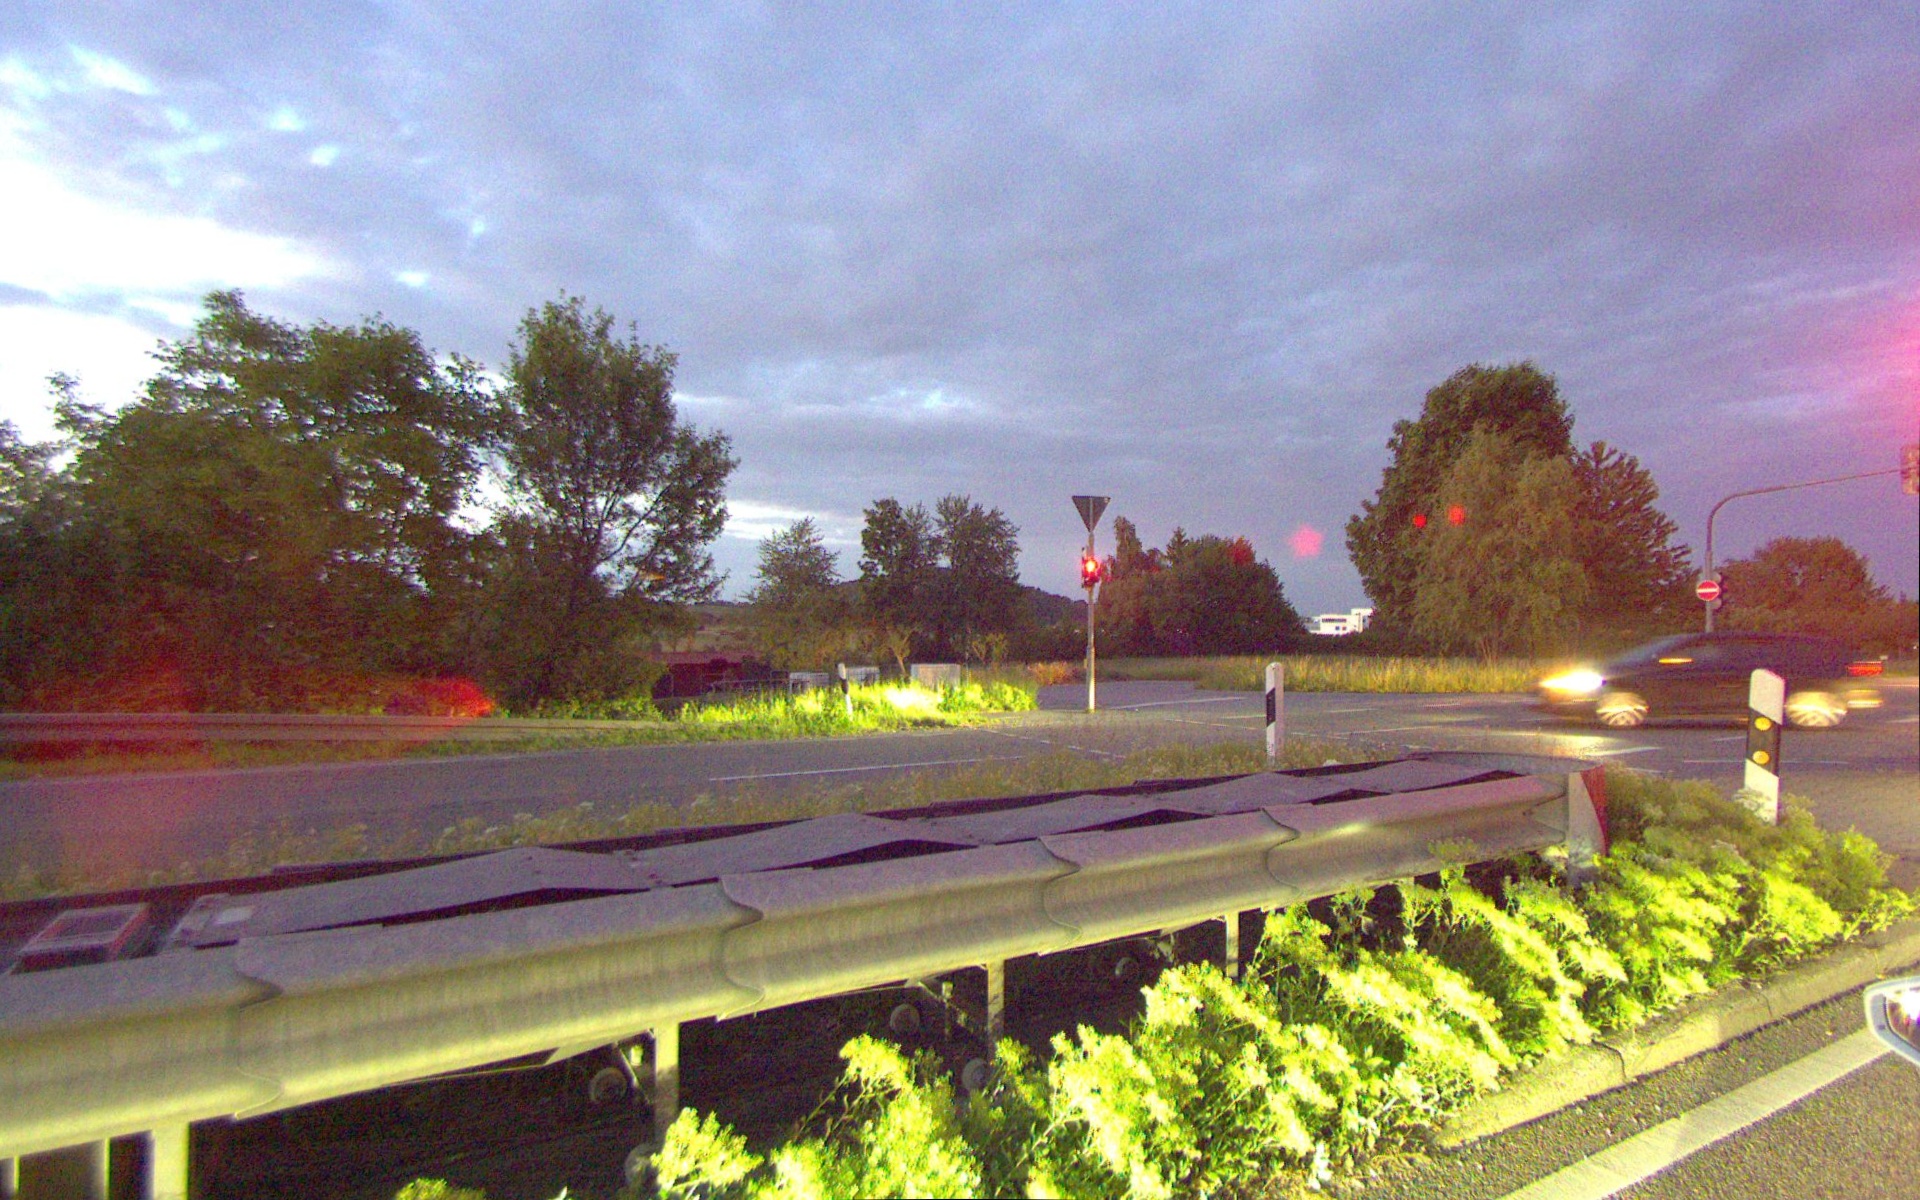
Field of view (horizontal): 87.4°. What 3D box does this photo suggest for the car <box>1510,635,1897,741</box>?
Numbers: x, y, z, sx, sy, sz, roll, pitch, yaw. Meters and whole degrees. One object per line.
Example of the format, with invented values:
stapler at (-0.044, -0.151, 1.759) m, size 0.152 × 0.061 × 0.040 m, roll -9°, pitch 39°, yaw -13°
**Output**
car at (11.600, 1.326, 16.053) m, size 4.522 × 1.540 × 2.002 m, roll 0°, pitch -2°, yaw 11°
